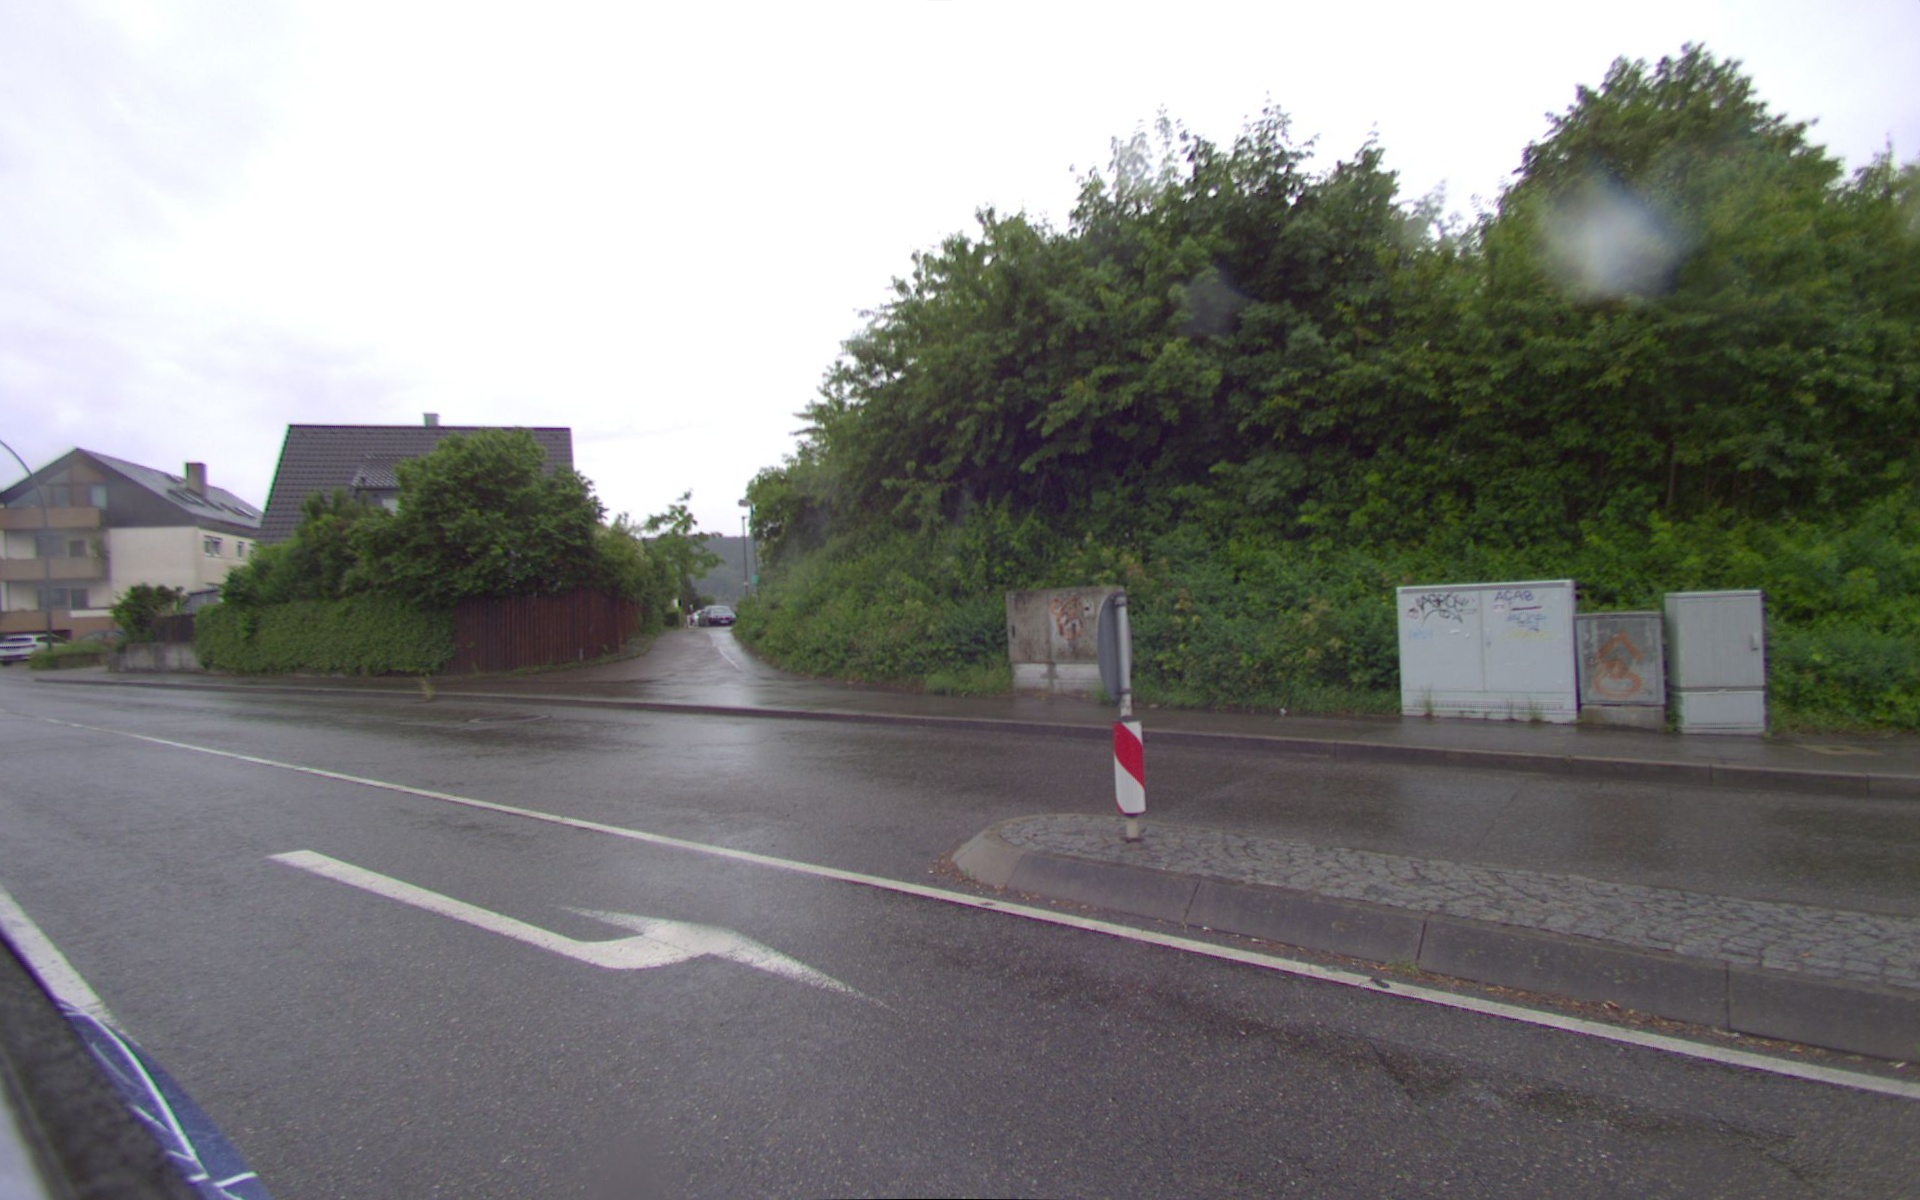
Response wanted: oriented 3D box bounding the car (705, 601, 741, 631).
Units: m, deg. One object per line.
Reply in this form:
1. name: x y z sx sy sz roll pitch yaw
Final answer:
1. car: -15.435 1.036 66.041 1.968 1.873 4.008 -2 0 -9

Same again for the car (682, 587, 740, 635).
1. car: -9.024 0.394 36.920 1.683 1.600 3.668 -1 0 -8

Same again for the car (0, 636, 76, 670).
1. car: -46.655 2.638 50.913 1.837 1.530 4.012 -2 0 -18

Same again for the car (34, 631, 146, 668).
1. car: -41.444 2.350 48.287 3.609 1.530 1.759 -2 0 -15
